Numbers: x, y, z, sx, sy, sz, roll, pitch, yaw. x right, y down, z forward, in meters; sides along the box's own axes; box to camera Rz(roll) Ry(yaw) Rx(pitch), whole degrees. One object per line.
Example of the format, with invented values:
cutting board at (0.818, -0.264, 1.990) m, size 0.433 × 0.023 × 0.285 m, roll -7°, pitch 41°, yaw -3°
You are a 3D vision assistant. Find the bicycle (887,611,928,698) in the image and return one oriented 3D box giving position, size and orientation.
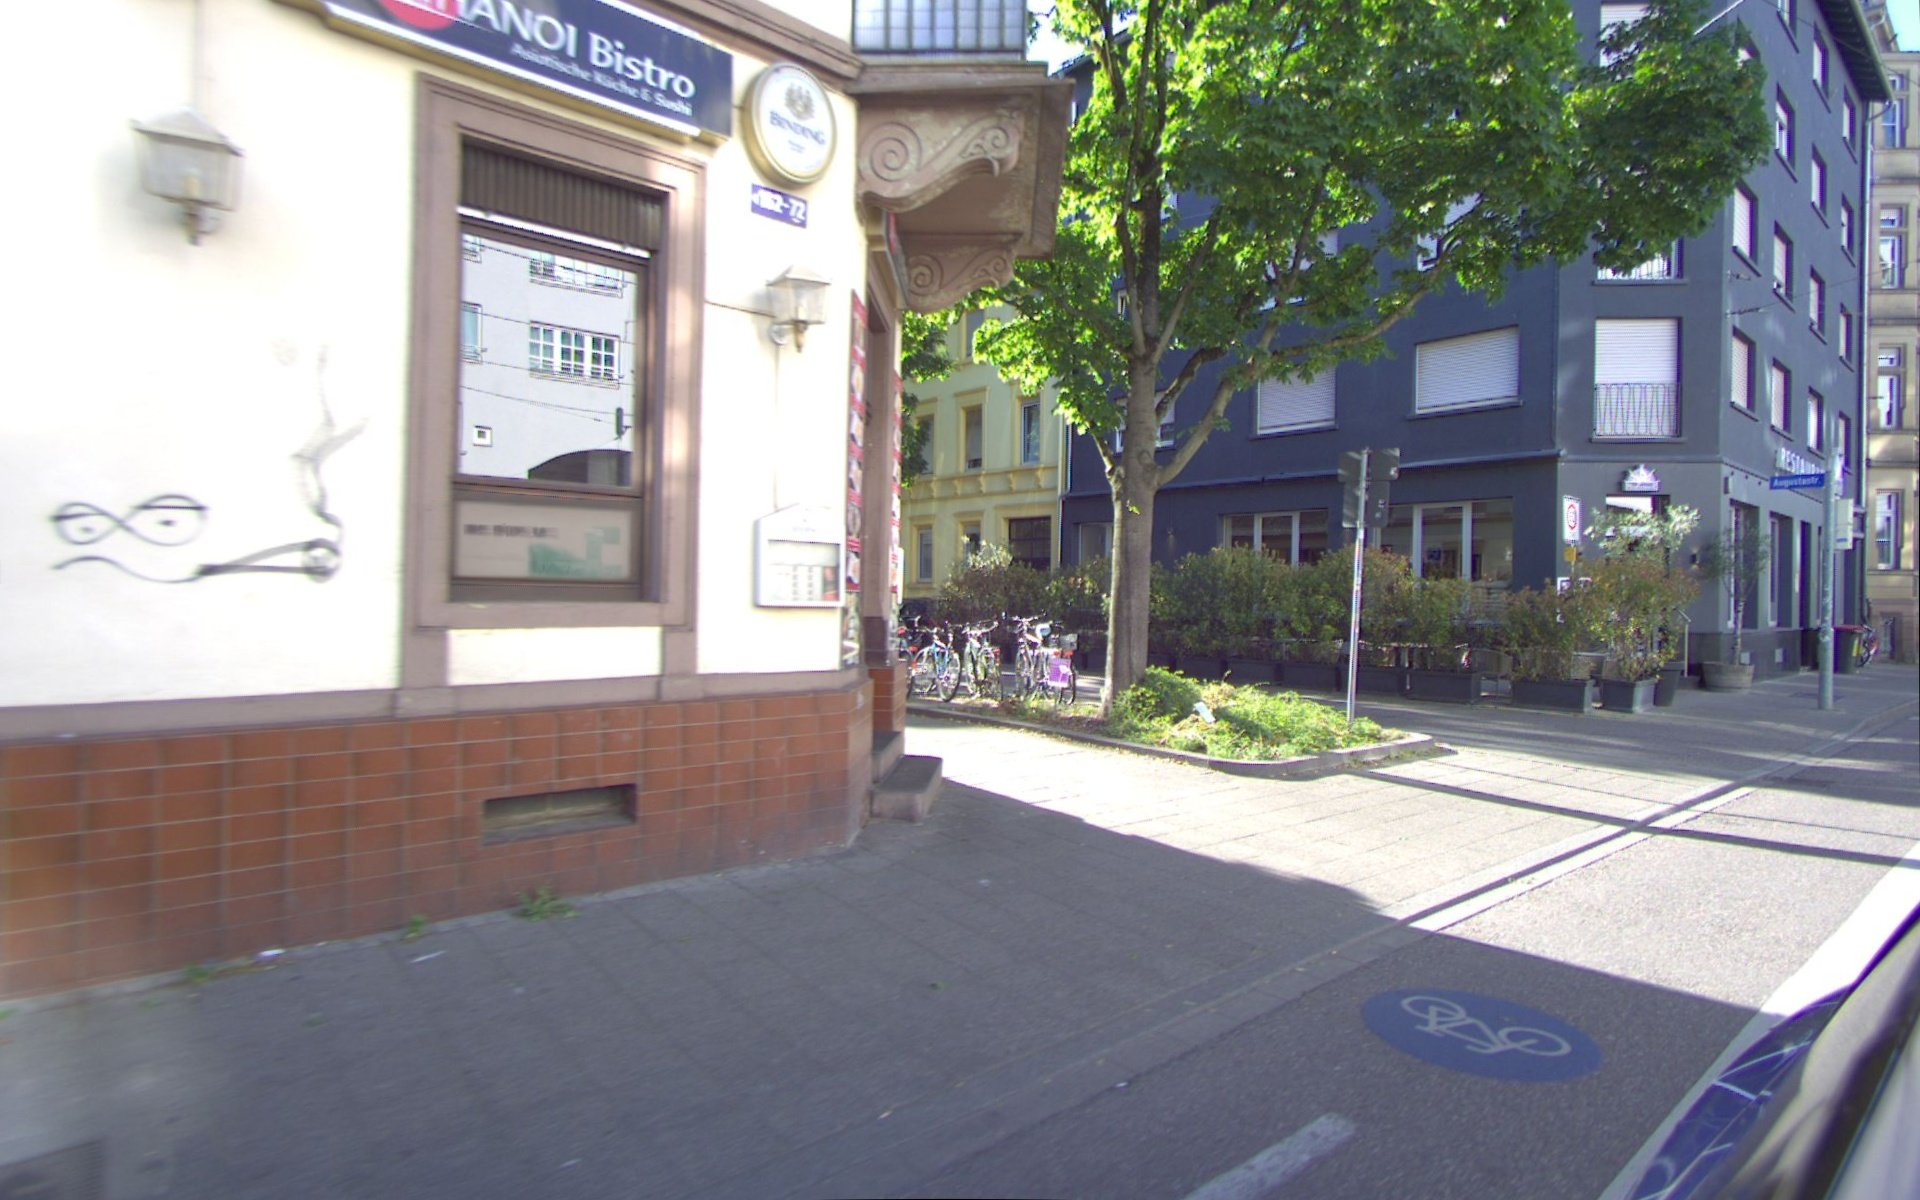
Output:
bicycle at (-0.742, 0.706, 13.863) m, size 0.433 × 1.057 × 1.910 m, roll 0°, pitch 1°, yaw -6°

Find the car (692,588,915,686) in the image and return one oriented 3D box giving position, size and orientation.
car at (-2.691, 0.585, 17.210) m, size 3.581 × 1.550 × 1.650 m, roll 0°, pitch 0°, yaw -14°

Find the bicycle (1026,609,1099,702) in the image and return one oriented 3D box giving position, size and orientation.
bicycle at (1.400, 0.734, 14.109) m, size 0.526 × 1.163 × 1.911 m, roll 0°, pitch 1°, yaw -9°

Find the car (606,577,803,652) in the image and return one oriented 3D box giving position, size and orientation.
car at (-4.956, 0.260, 19.809) m, size 3.581 × 1.379 × 1.650 m, roll 0°, pitch 0°, yaw -14°

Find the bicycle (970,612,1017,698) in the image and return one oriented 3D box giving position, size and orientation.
bicycle at (0.434, 0.716, 13.960) m, size 0.527 × 1.057 × 1.908 m, roll 0°, pitch 1°, yaw -1°

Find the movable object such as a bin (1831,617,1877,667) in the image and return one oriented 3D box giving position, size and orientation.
movable object such as a bin at (20.177, 0.931, 22.840) m, size 0.626 × 1.082 × 0.716 m, roll 1°, pitch -1°, yaw -41°

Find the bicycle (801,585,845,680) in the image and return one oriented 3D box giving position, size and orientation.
bicycle at (-1.961, 0.429, 14.649) m, size 0.568 × 1.281 × 2.062 m, roll 0°, pitch 1°, yaw -6°

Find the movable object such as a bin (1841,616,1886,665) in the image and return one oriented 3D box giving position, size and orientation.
movable object such as a bin at (20.819, 0.919, 23.326) m, size 0.626 × 1.082 × 0.716 m, roll 1°, pitch -1°, yaw -41°

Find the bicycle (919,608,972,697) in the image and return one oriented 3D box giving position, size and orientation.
bicycle at (-0.220, 0.684, 13.873) m, size 0.526 × 1.094 × 1.910 m, roll 0°, pitch 1°, yaw -6°

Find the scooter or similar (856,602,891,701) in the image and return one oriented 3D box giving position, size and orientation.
scooter or similar at (-1.117, 0.626, 12.957) m, size 0.416 × 1.198 × 1.213 m, roll 0°, pitch 0°, yaw -6°

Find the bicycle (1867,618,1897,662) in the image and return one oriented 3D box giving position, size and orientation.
bicycle at (22.994, 0.983, 25.225) m, size 1.486 × 1.072 × 0.377 m, roll 1°, pitch 0°, yaw -41°
